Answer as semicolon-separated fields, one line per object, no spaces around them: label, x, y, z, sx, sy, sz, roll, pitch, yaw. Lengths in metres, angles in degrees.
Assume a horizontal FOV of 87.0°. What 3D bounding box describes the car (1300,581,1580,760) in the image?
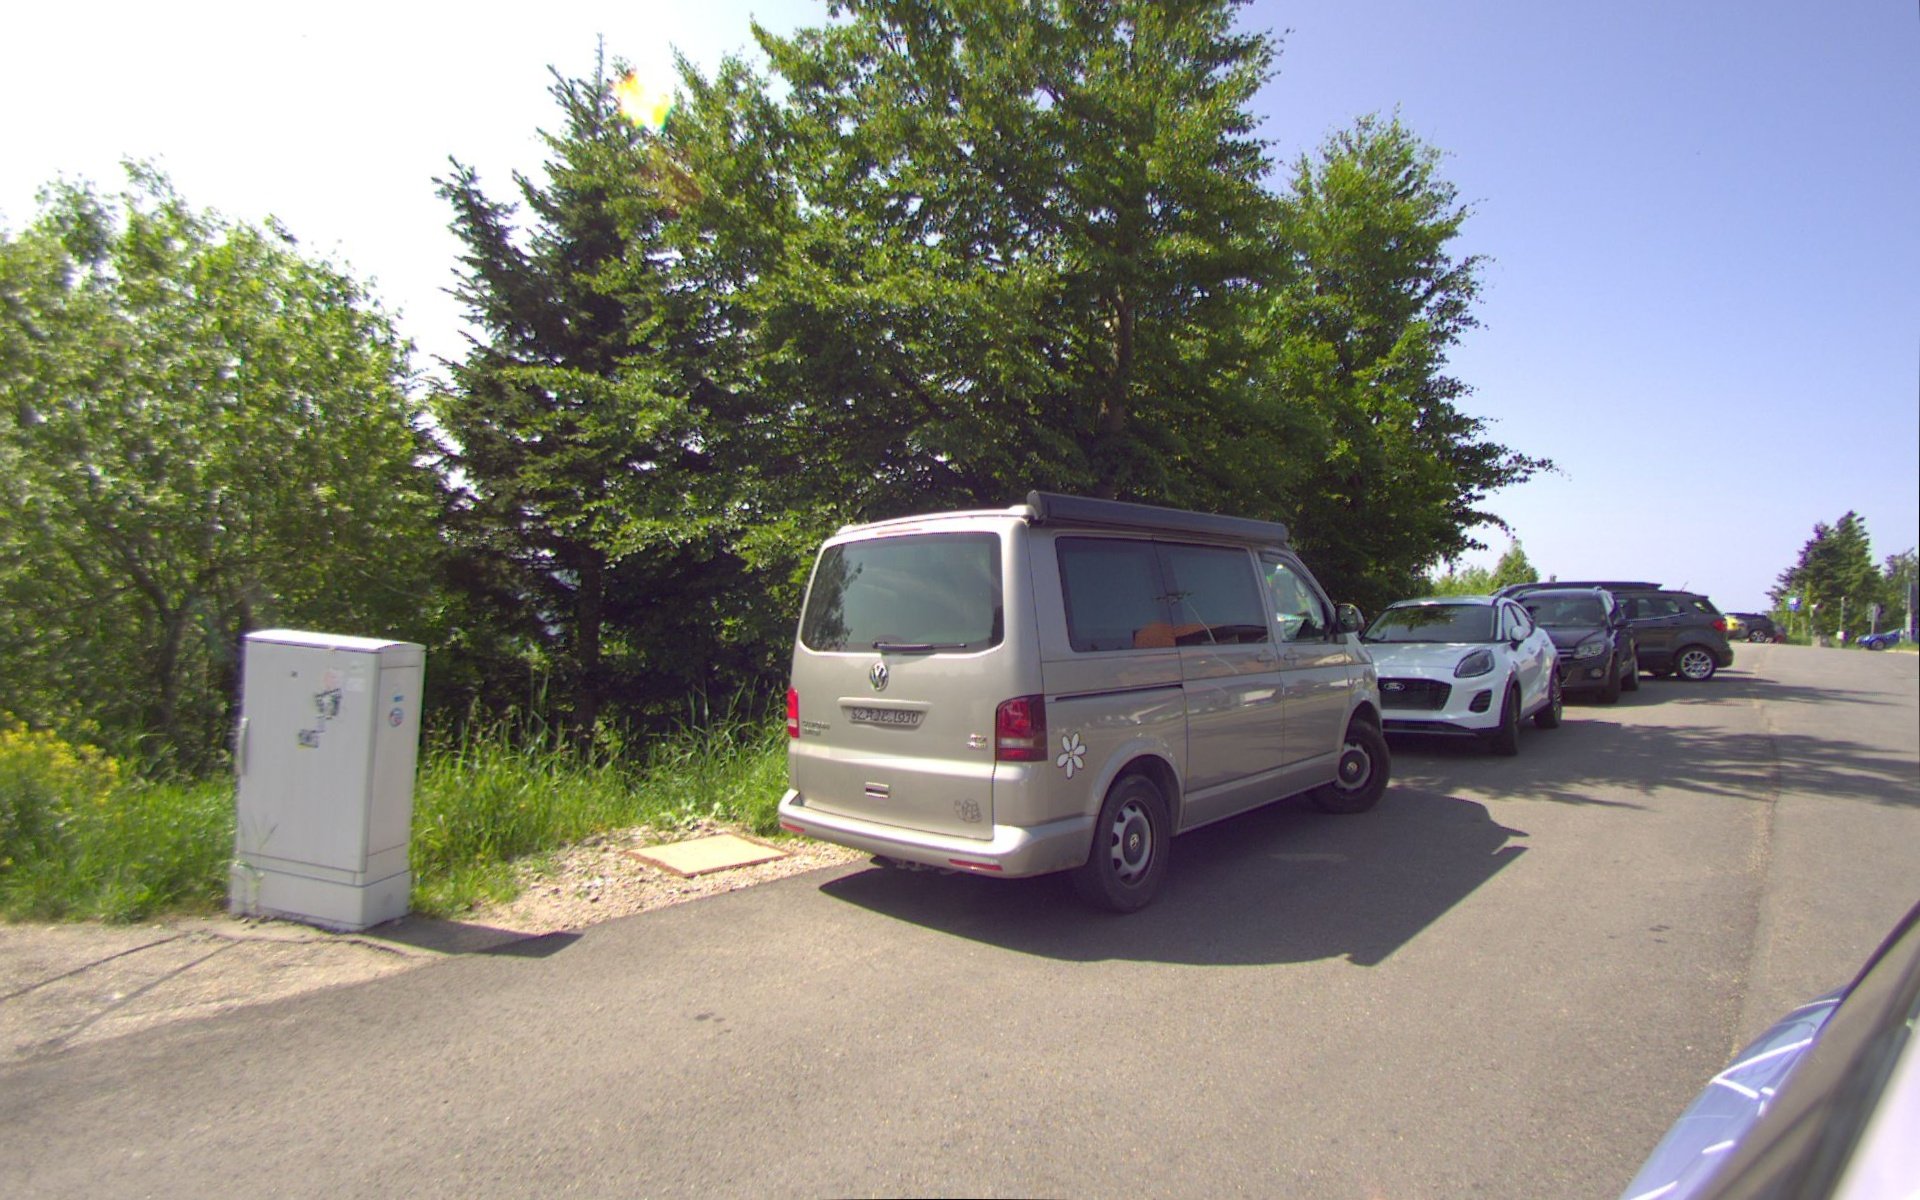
car;5.343;0.629;11.001;1.867;1.567;3.943;-1;-1;39

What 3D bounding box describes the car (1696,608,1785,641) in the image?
car;45.205;1.372;58.642;3.900;1.634;1.847;4;2;43

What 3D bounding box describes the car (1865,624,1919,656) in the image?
car;55.050;2.359;58.491;3.895;1.634;1.850;4;2;39

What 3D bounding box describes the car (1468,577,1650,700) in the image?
car;9.357;0.528;15.668;1.867;1.639;3.943;-1;-1;39

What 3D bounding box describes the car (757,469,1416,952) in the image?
car;1.127;0.474;6.428;1.856;1.960;4.537;-2;-2;43

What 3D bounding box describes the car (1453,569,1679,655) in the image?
car;14.572;0.314;24.657;4.406;1.950;1.863;-1;-1;21

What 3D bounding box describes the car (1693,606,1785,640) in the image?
car;43.574;1.260;56.655;3.900;1.634;1.847;4;2;43

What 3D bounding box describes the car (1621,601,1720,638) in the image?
car;36.209;0.949;51.625;3.900;1.634;1.847;4;2;43

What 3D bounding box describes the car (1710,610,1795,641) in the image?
car;48.081;1.523;61.426;3.900;1.634;1.847;4;2;43

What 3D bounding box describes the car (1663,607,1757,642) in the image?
car;40.920;1.282;55.263;3.900;1.634;1.847;4;2;43

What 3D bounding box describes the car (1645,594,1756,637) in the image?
car;38.727;0.767;52.981;4.446;1.949;1.847;4;2;43

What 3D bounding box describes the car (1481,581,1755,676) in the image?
car;12.173;0.532;19.058;3.951;1.639;1.863;-1;-1;21
